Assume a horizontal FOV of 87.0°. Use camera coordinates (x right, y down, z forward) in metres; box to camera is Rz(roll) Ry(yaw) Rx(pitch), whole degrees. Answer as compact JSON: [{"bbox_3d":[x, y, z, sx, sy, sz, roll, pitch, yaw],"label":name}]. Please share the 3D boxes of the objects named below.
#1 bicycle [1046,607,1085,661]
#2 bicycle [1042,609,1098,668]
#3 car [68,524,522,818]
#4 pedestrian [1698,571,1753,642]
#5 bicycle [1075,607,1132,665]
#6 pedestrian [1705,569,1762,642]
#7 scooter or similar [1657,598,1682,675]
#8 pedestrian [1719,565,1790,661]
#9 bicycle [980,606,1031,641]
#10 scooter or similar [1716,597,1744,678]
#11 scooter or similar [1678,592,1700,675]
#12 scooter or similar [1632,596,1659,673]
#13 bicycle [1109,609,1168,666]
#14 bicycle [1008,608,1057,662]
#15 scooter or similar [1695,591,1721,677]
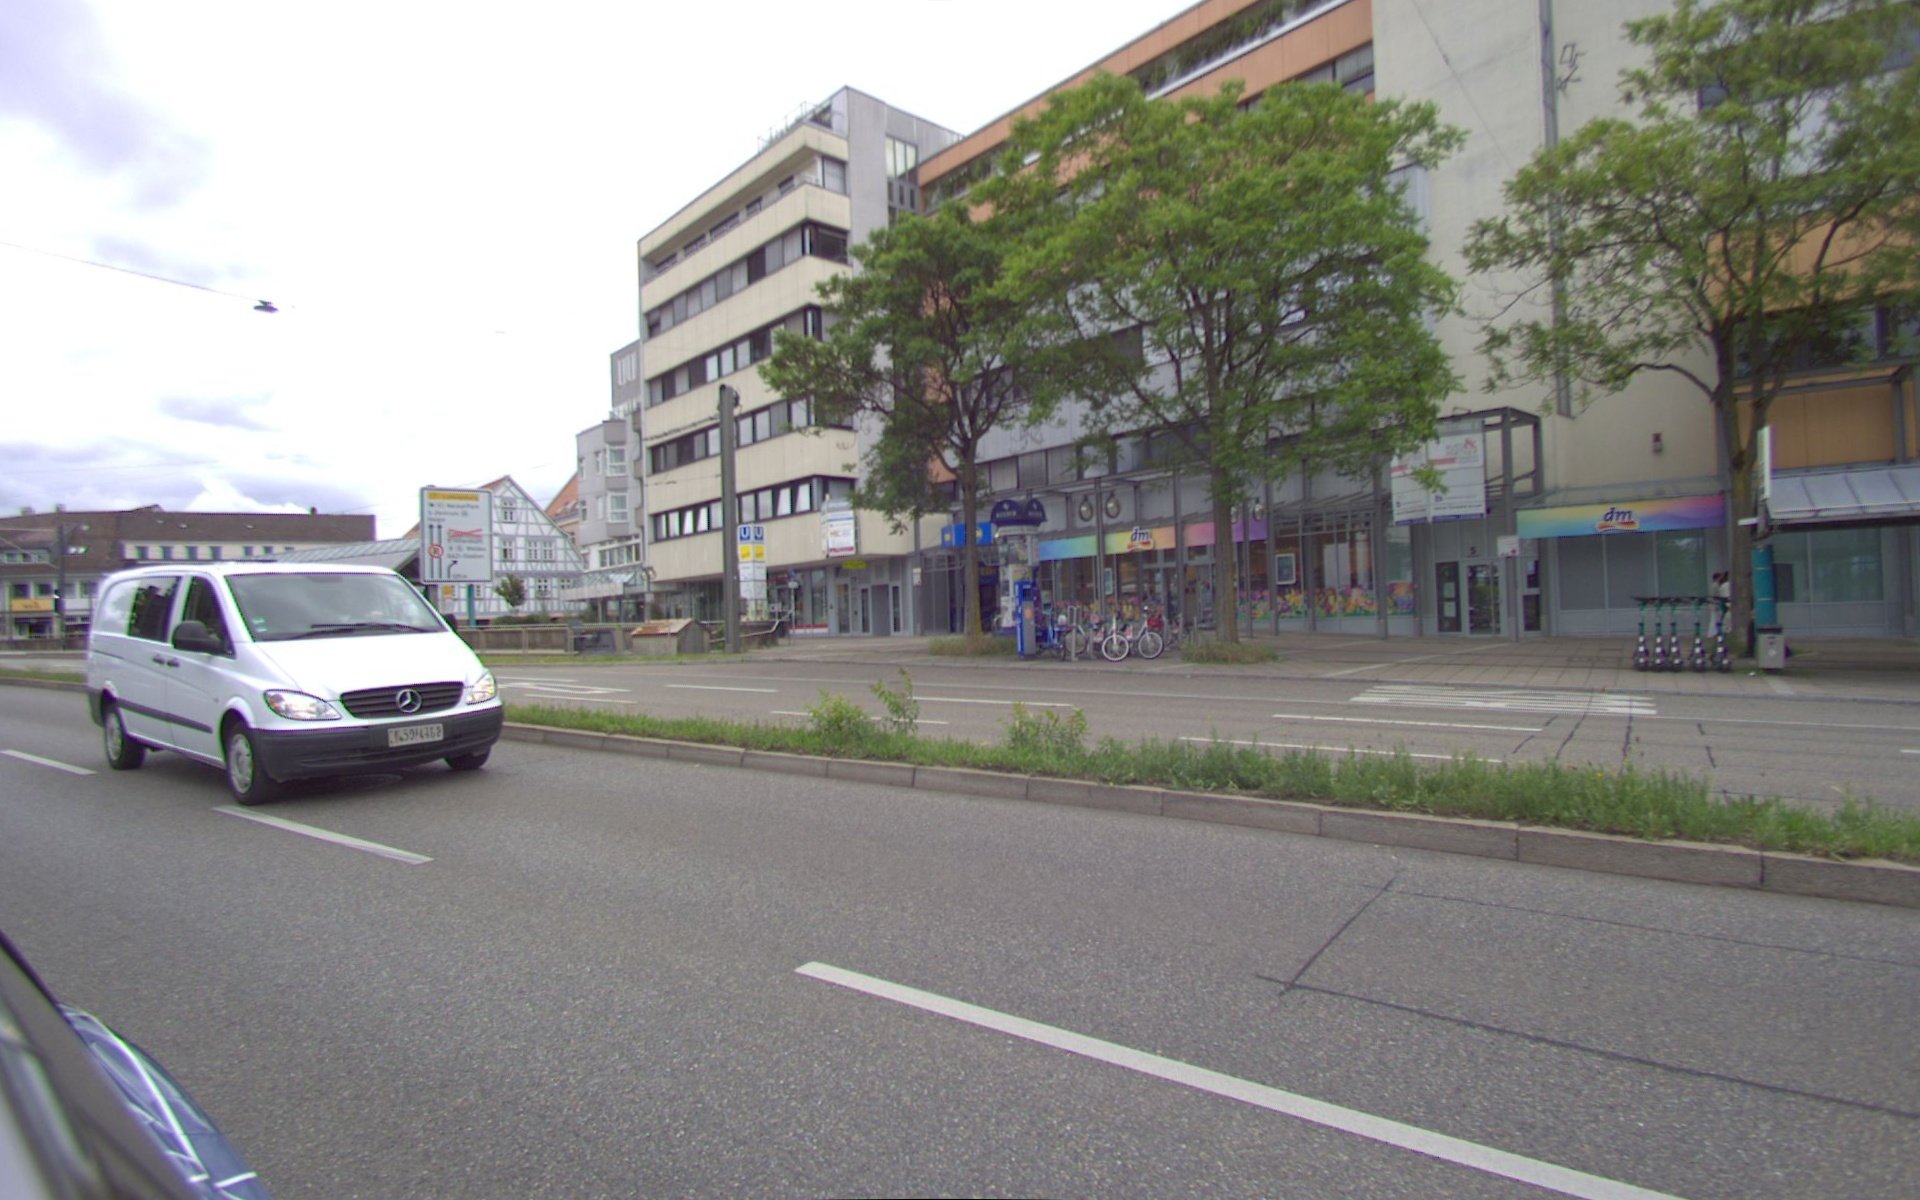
[{"bbox_3d":[2.538,0.813,24.453,0.425,1.263,1.474,-1,-1,-14],"label":"bicycle"},{"bbox_3d":[2.432,0.839,22.546,0.616,1.263,1.689,-1,-1,-17],"label":"bicycle"},{"bbox_3d":[-6.262,0.523,9.257,5.067,2.029,1.856,-1,0,37],"label":"car"},{"bbox_3d":[18.130,0.161,23.992,0.995,1.630,0.726,-1,-1,37],"label":"pedestrian"},{"bbox_3d":[3.270,0.798,23.163,0.616,1.263,1.689,-1,-1,-17],"label":"bicycle"},{"bbox_3d":[17.769,0.136,23.280,0.995,1.630,0.726,-1,-1,37],"label":"pedestrian"},{"bbox_3d":[12.401,0.627,17.689,0.267,1.305,1.119,-1,-1,32],"label":"scooter or similar"},{"bbox_3d":[15.260,0.248,19.462,0.995,1.795,0.726,-1,-1,37],"label":"pedestrian"},{"bbox_3d":[1.770,0.901,39.519,1.941,1.329,0.707,0,-1,-34],"label":"bicycle"},{"bbox_3d":[13.150,0.623,17.301,0.259,1.330,1.192,-1,-1,33],"label":"scooter or similar"},{"bbox_3d":[12.650,0.562,17.574,0.221,1.395,1.192,-1,-1,33],"label":"scooter or similar"},{"bbox_3d":[12.072,0.593,17.845,0.338,1.279,1.311,-1,1,33],"label":"scooter or similar"},{"bbox_3d":[4.124,0.840,23.477,0.616,1.263,1.689,-1,-1,-17],"label":"bicycle"},{"bbox_3d":[1.757,0.843,24.794,0.616,1.263,1.688,-1,-1,-16],"label":"bicycle"},{"bbox_3d":[12.903,0.568,17.470,0.259,1.434,1.192,-1,-1,33],"label":"scooter or similar"}]
